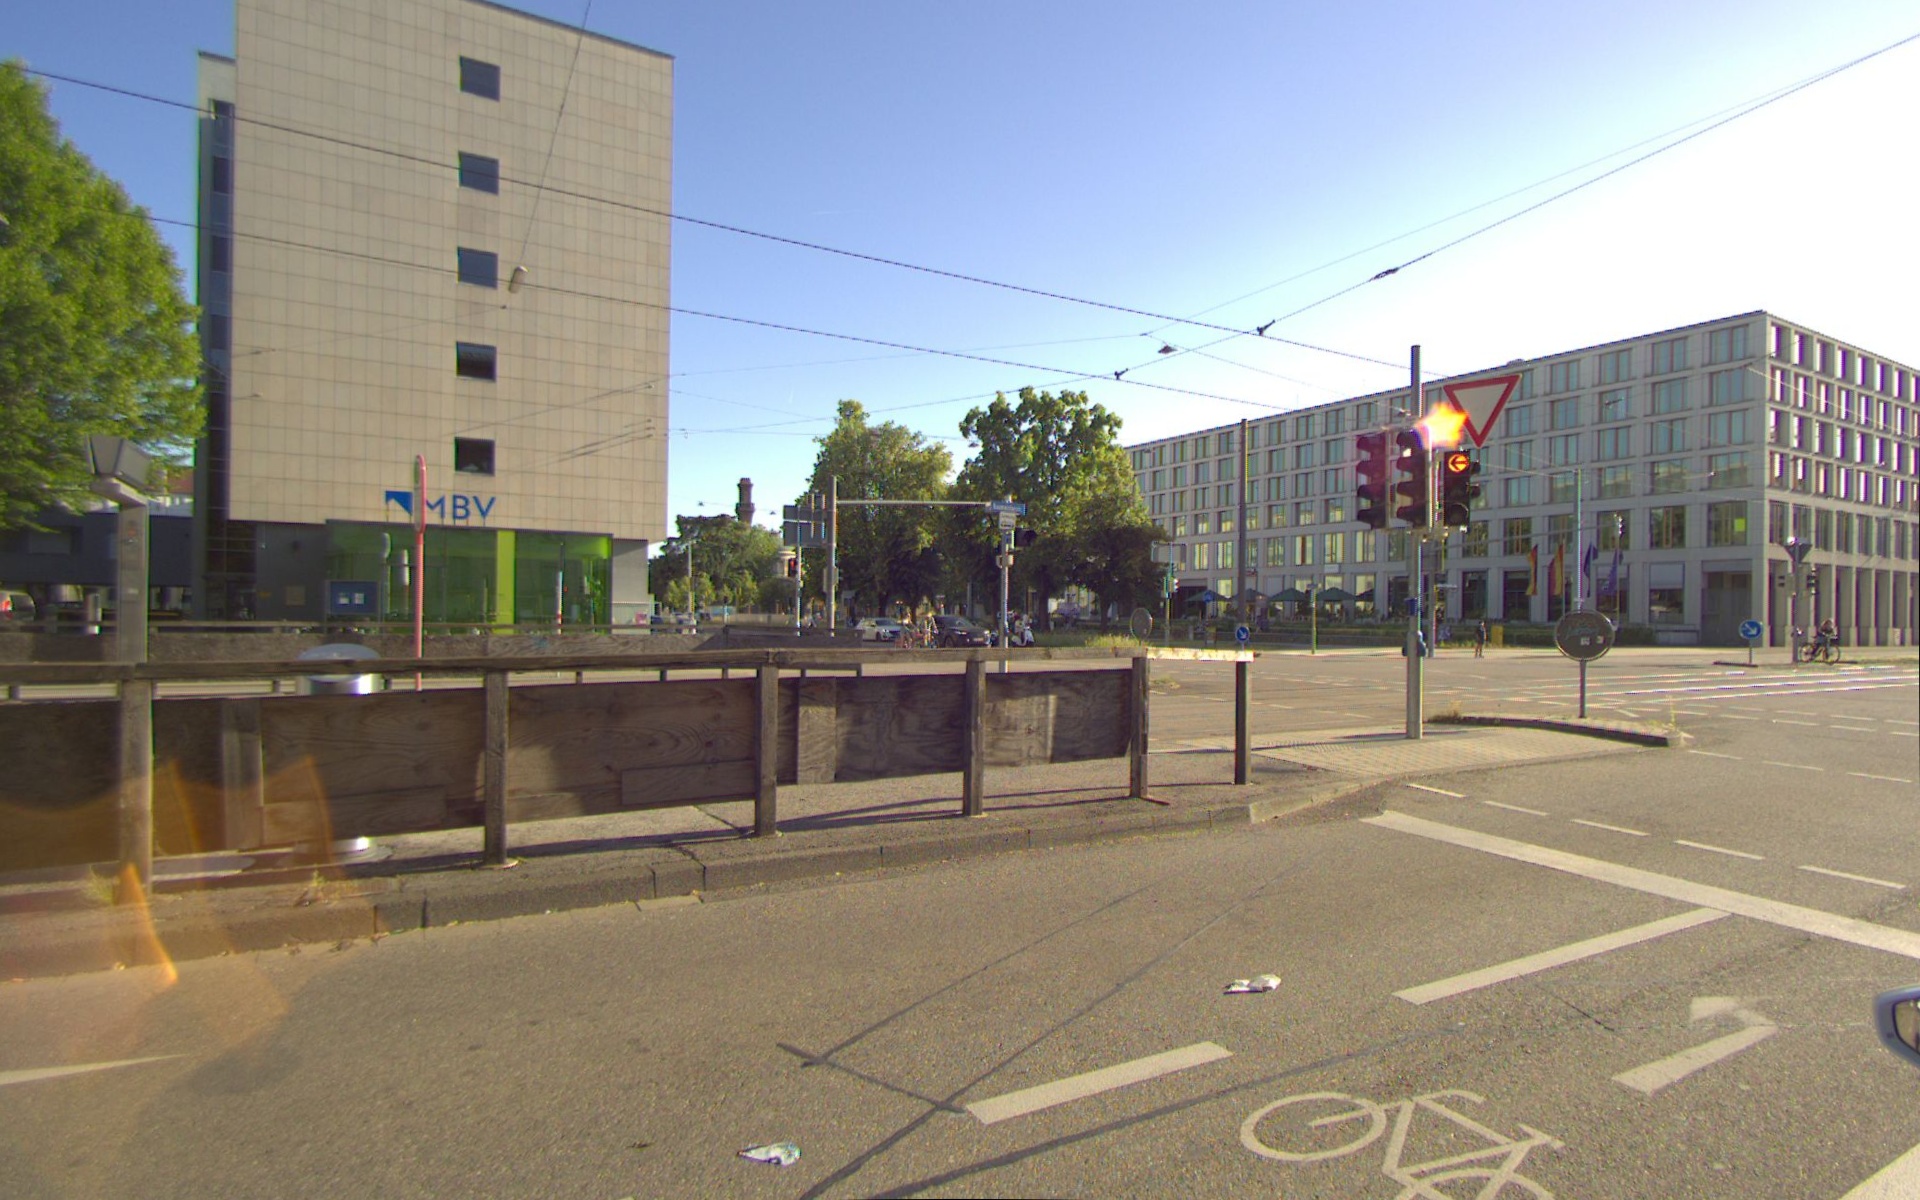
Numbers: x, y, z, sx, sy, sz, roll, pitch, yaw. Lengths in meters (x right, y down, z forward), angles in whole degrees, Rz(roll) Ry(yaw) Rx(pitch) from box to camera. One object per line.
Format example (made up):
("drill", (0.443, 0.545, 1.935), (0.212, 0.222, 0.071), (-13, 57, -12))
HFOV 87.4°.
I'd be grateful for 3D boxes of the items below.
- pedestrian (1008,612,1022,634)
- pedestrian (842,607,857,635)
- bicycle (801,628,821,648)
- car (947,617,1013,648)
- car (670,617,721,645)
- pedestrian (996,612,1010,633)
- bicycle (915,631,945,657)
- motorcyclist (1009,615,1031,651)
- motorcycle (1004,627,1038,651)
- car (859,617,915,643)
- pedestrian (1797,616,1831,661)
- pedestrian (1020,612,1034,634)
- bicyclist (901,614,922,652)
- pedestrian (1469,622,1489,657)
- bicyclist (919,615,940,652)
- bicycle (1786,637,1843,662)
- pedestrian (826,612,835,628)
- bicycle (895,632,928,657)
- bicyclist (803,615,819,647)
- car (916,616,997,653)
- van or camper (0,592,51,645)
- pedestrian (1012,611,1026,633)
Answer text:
("pedestrian", (4.540, 1.870, 82.366), (0.858, 1.738, 0.737), (2, 0, -26))
("pedestrian", (-8.157, 1.556, 74.138), (0.772, 2.040, 0.747), (1, -1, -31))
("bicycle", (-8.023, 2.027, 53.976), (0.576, 1.032, 1.666), (1, -1, -27))
("car", (1.009, 1.658, 52.214), (1.674, 1.506, 3.719), (1, -1, -33))
("car", (-15.751, 1.812, 59.695), (1.975, 1.472, 4.179), (2, 0, -28))
("pedestrian", (3.505, 1.836, 81.746), (0.858, 1.738, 0.737), (2, 0, -26))
("bicycle", (-1.274, 1.842, 42.381), (0.576, 1.032, 1.666), (1, -1, -27))
("motorcyclist", (2.801, 1.540, 46.987), (0.624, 1.601, 0.812), (-3, 1, -28))
("motorcycle", (2.841, 1.821, 46.956), (0.624, 1.030, 1.972), (-3, 1, -28))
("car", (-4.461, 1.809, 60.992), (1.975, 1.537, 3.971), (1, -1, -28))
("pedestrian", (30.871, 1.389, 36.314), (0.562, 1.616, 0.744), (1, -1, -3))
("pedestrian", (5.463, 1.895, 81.682), (0.858, 1.738, 0.737), (2, 0, -26))
("bicyclist", (-2.040, 1.369, 42.017), (0.577, 1.563, 0.833), (1, -2, -32))
("pedestrian", (25.153, 1.917, 48.706), (0.597, 1.703, 0.602), (1, -1, -22))
("bicyclist", (-1.280, 1.414, 42.417), (0.576, 1.563, 0.890), (1, -1, -27))
("bicycle", (30.869, 1.784, 36.325), (0.562, 0.834, 1.718), (1, -1, -2))
("pedestrian", (-15.121, 2.350, 116.906), (0.615, 1.829, 0.769), (2, 0, 39))
("bicycle", (-2.045, 1.848, 42.020), (0.577, 1.032, 1.806), (1, -3, -31))
("bicyclist", (-8.009, 1.661, 53.978), (0.576, 1.658, 0.890), (1, -1, -27))
("car", (-0.215, 1.515, 44.593), (1.925, 1.561, 3.969), (2, -2, -29))
("van or camper", (-27.896, 0.433, 27.569), (3.954, 1.425, 1.954), (4, -3, -30))
("pedestrian", (4.924, 1.833, 83.795), (0.858, 1.738, 0.737), (2, 0, -26))
